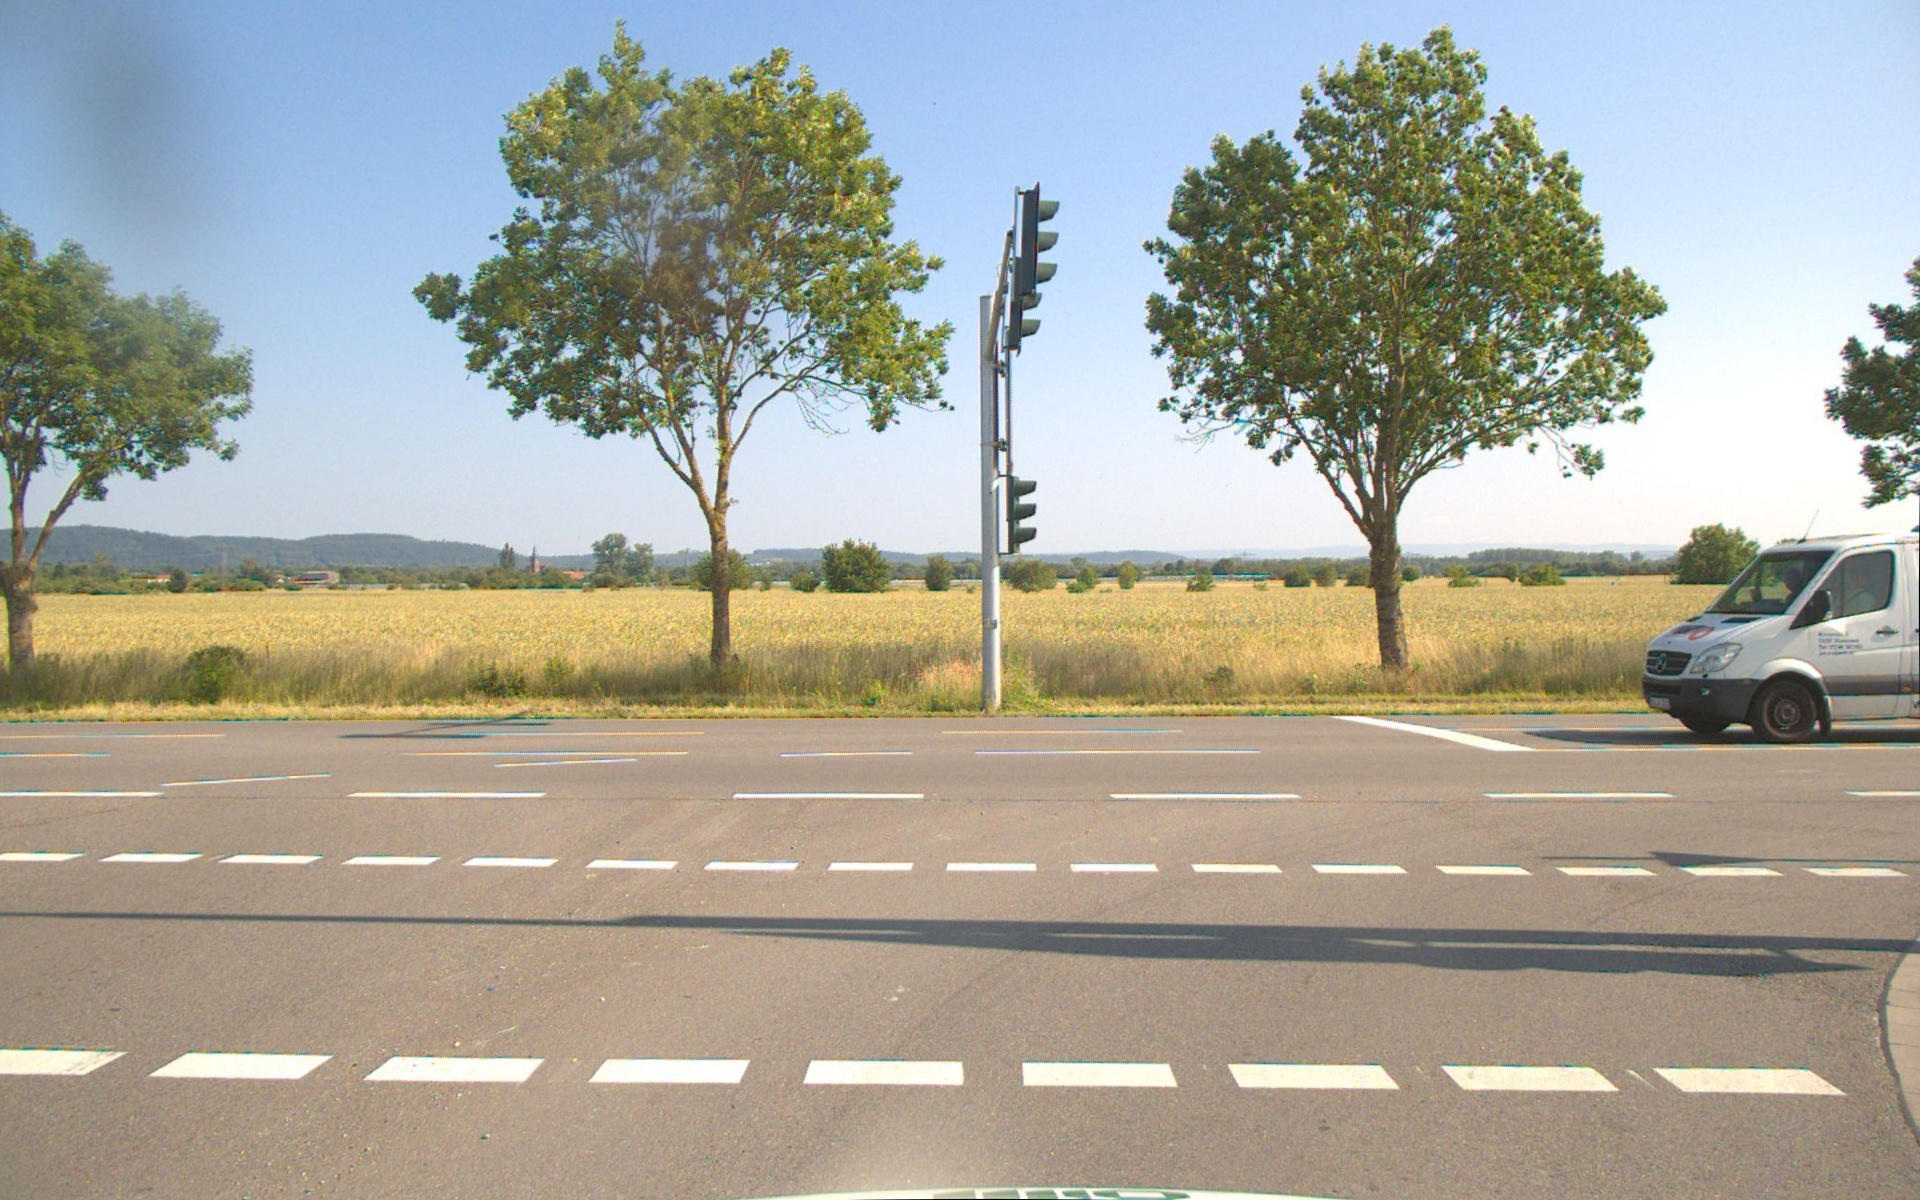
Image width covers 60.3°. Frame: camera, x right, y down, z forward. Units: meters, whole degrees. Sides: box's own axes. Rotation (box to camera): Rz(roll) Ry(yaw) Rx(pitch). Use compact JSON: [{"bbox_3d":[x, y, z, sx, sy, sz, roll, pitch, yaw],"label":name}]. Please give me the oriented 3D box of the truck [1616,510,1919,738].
[{"bbox_3d":[10.942,0.253,18.940,6.053,2.447,2.070,0,-1,-2],"label":"truck"}]
